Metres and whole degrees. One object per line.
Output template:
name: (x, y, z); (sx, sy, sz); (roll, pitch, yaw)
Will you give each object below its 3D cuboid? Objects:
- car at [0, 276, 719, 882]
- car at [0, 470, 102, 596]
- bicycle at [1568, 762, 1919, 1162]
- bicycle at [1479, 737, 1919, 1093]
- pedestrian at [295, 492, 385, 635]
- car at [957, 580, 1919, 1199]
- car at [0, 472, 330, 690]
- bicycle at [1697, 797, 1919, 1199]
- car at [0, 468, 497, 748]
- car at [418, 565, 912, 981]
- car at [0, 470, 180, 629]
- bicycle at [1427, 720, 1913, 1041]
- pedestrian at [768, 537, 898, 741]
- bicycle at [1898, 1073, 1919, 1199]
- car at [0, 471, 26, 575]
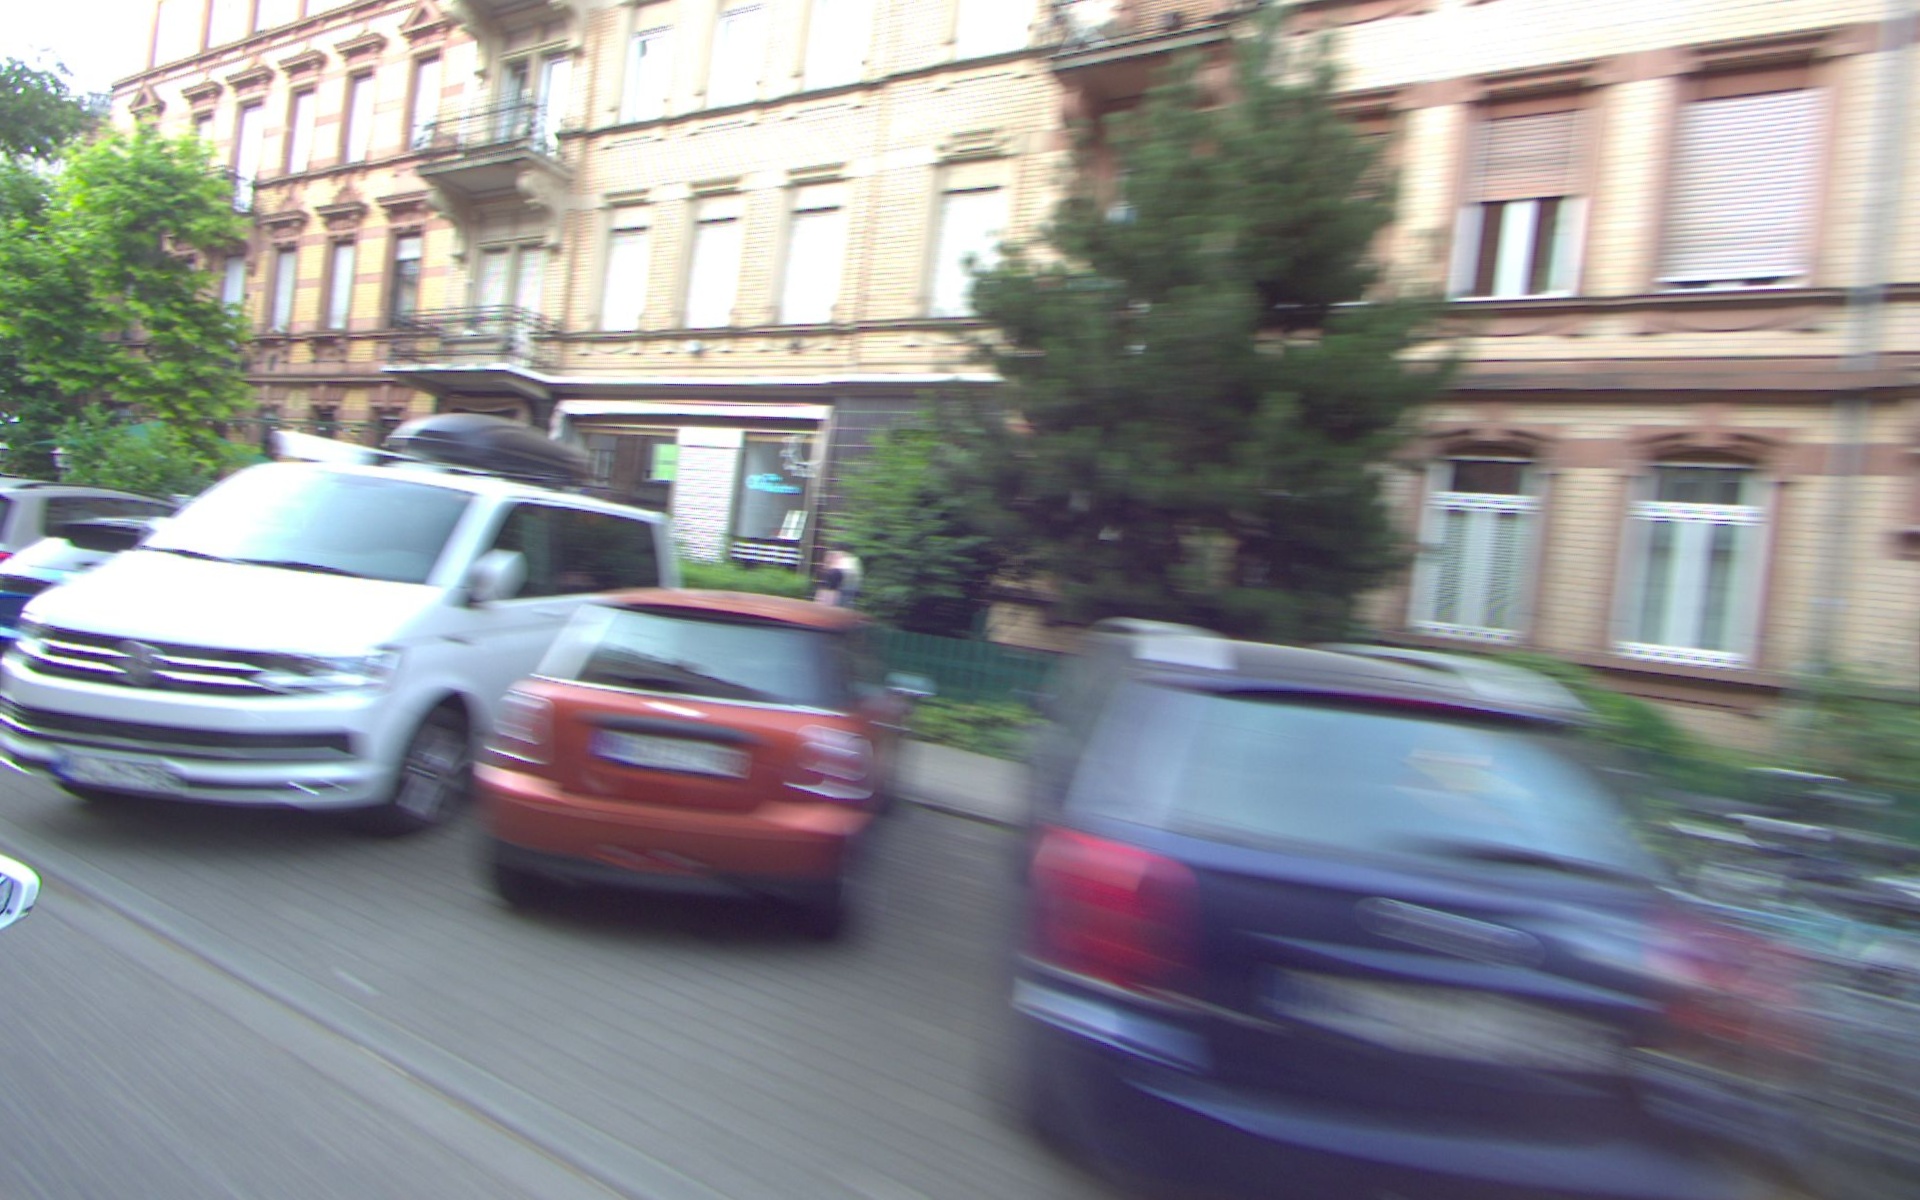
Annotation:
car: (-3.458, -0.090, 6.758); (1.962, 2.391, 4.939); (7, 0, 4)
car: (-13.283, -0.943, 12.637); (1.787, 1.611, 4.099); (6, 2, -8)
bicycle: (3.242, 1.293, 3.572); (1.782, 1.151, 0.496); (7, 2, -5)
bicycle: (3.192, 1.275, 4.116); (1.782, 1.151, 0.496); (7, 2, -5)
pedestrian: (-7.814, -0.459, 12.685); (0.646, 1.700, 0.623); (6, -1, 41)
car: (1.072, 0.860, 3.821); (1.813, 1.535, 3.868); (7, 0, 4)
car: (-8.199, -0.286, 9.458); (1.851, 1.611, 4.162); (7, 2, -1)
bicycle: (3.306, 1.310, 2.999); (1.782, 1.151, 0.496); (7, 2, -5)
car: (-5.843, 0.012, 8.340); (1.851, 1.610, 4.166); (7, 0, 1)
car: (-1.216, 0.664, 5.760); (1.727, 1.426, 3.865); (6, 0, -3)
car: (-10.790, -0.614, 10.669); (1.785, 1.611, 4.104); (7, 2, -1)
bicycle: (3.306, 1.293, 4.788); (1.780, 1.151, 0.496); (8, 2, 2)
pedestrian: (-1.188, 0.348, 9.423); (0.813, 1.773, 0.684); (7, 2, 33)
bicycle: (3.359, 1.301, 2.369); (1.781, 1.151, 0.496); (7, 2, -2)
car: (-15.422, -1.217, 13.583); (1.785, 1.572, 4.104); (7, 2, -2)
